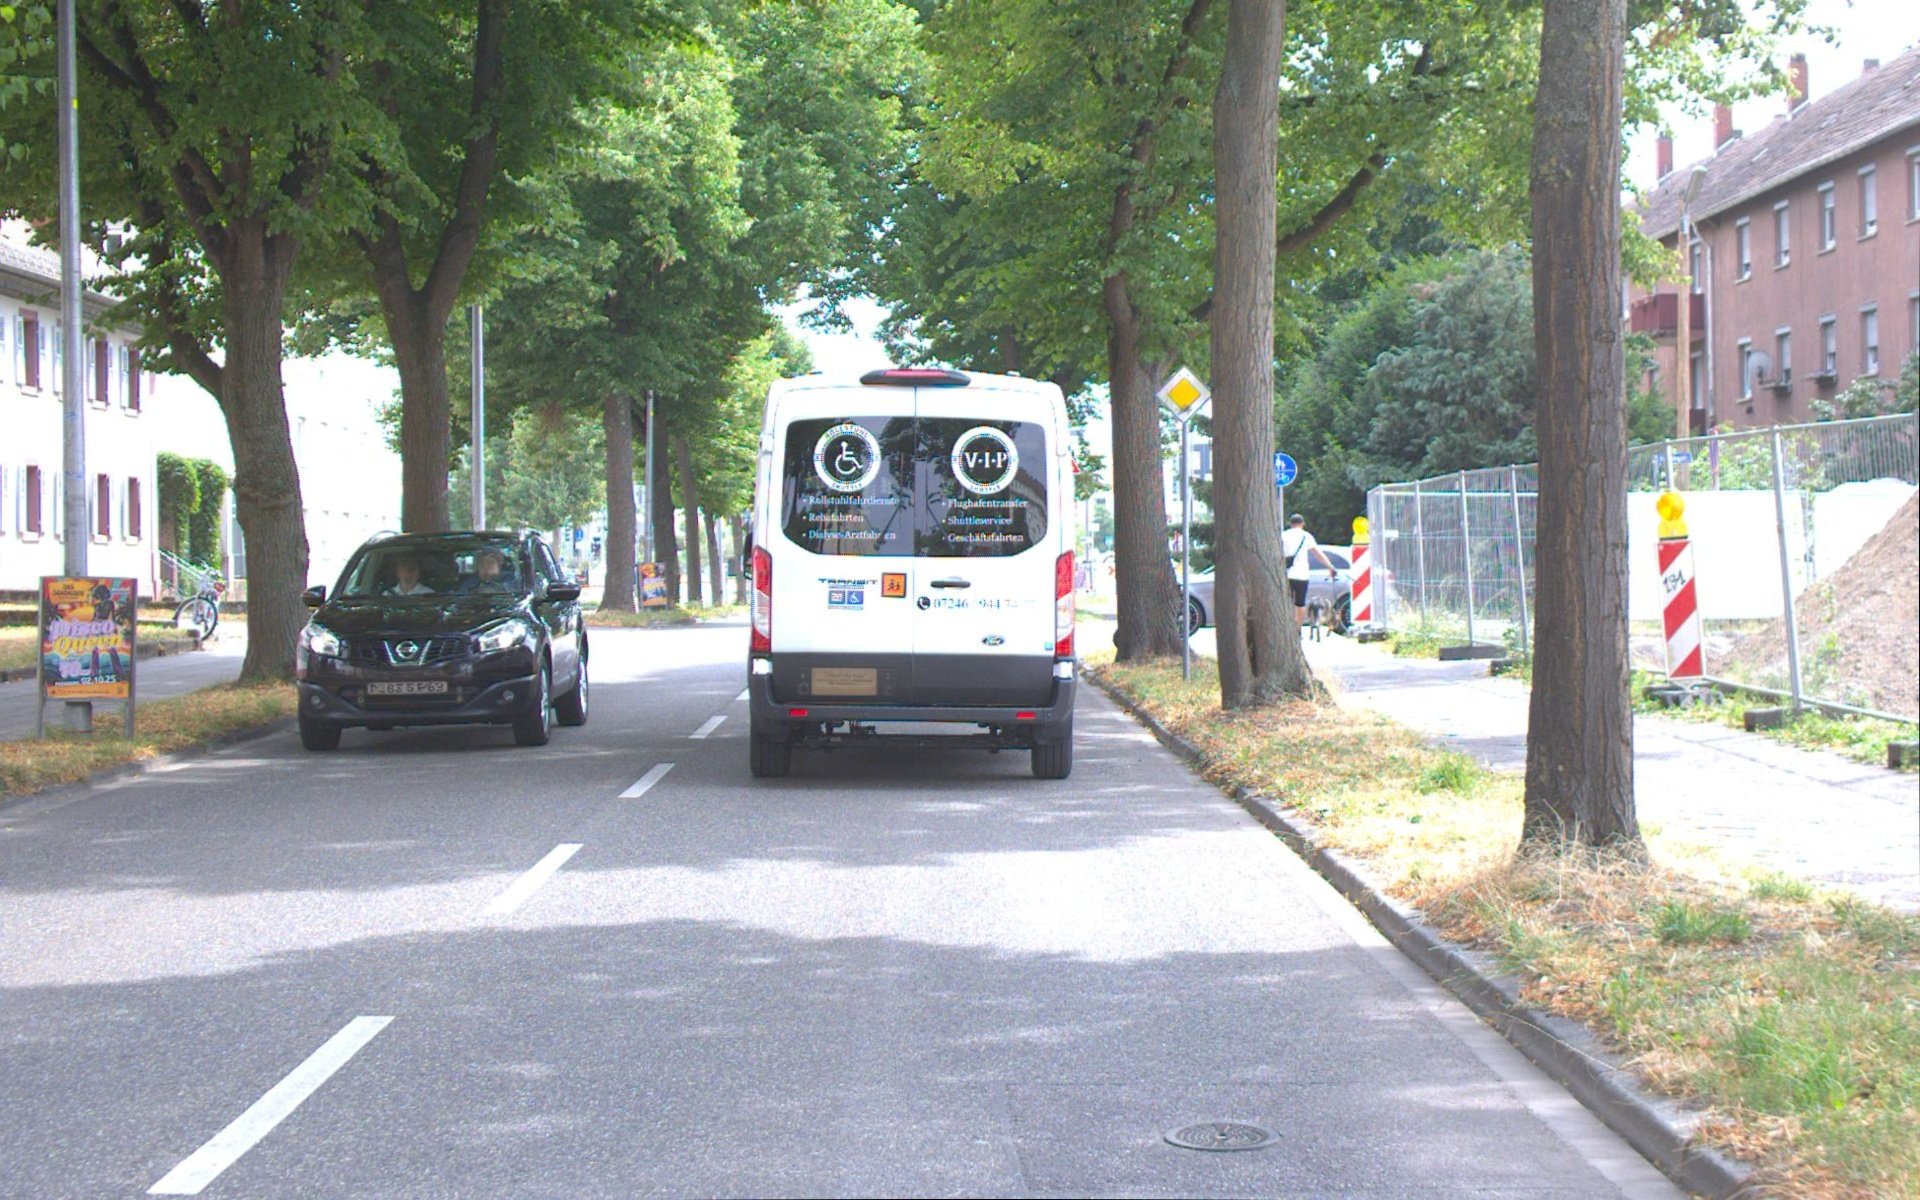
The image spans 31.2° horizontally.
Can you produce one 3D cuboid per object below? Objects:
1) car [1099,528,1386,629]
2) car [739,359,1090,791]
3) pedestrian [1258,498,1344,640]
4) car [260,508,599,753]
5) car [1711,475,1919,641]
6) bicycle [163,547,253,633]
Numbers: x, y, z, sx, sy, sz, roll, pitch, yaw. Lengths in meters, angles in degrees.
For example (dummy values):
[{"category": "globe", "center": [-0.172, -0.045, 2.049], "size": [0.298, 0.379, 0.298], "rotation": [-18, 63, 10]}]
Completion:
[{"category": "car", "center": [4.416, -0.322, 54.357], "size": [4.371, 1.438, 2.011], "rotation": [-1, -1, 1]}, {"category": "car", "center": [-0.393, -0.195, 22.222], "size": [2.062, 2.531, 4.001], "rotation": [0, 1, -4]}, {"category": "pedestrian", "center": [4.458, -0.406, 44.907], "size": [0.883, 1.808, 0.888], "rotation": [-2, 0, 19]}, {"category": "car", "center": [-3.940, 0.159, 26.205], "size": [1.772, 1.653, 4.257], "rotation": [-2, 1, 1]}, {"category": "car", "center": [15.513, -0.745, 57.324], "size": [5.473, 2.623, 2.336], "rotation": [-1, 3, 2]}, {"category": "bicycle", "center": [-10.228, -0.148, 46.829], "size": [0.722, 1.091, 2.225], "rotation": [3, 1, -1]}]
